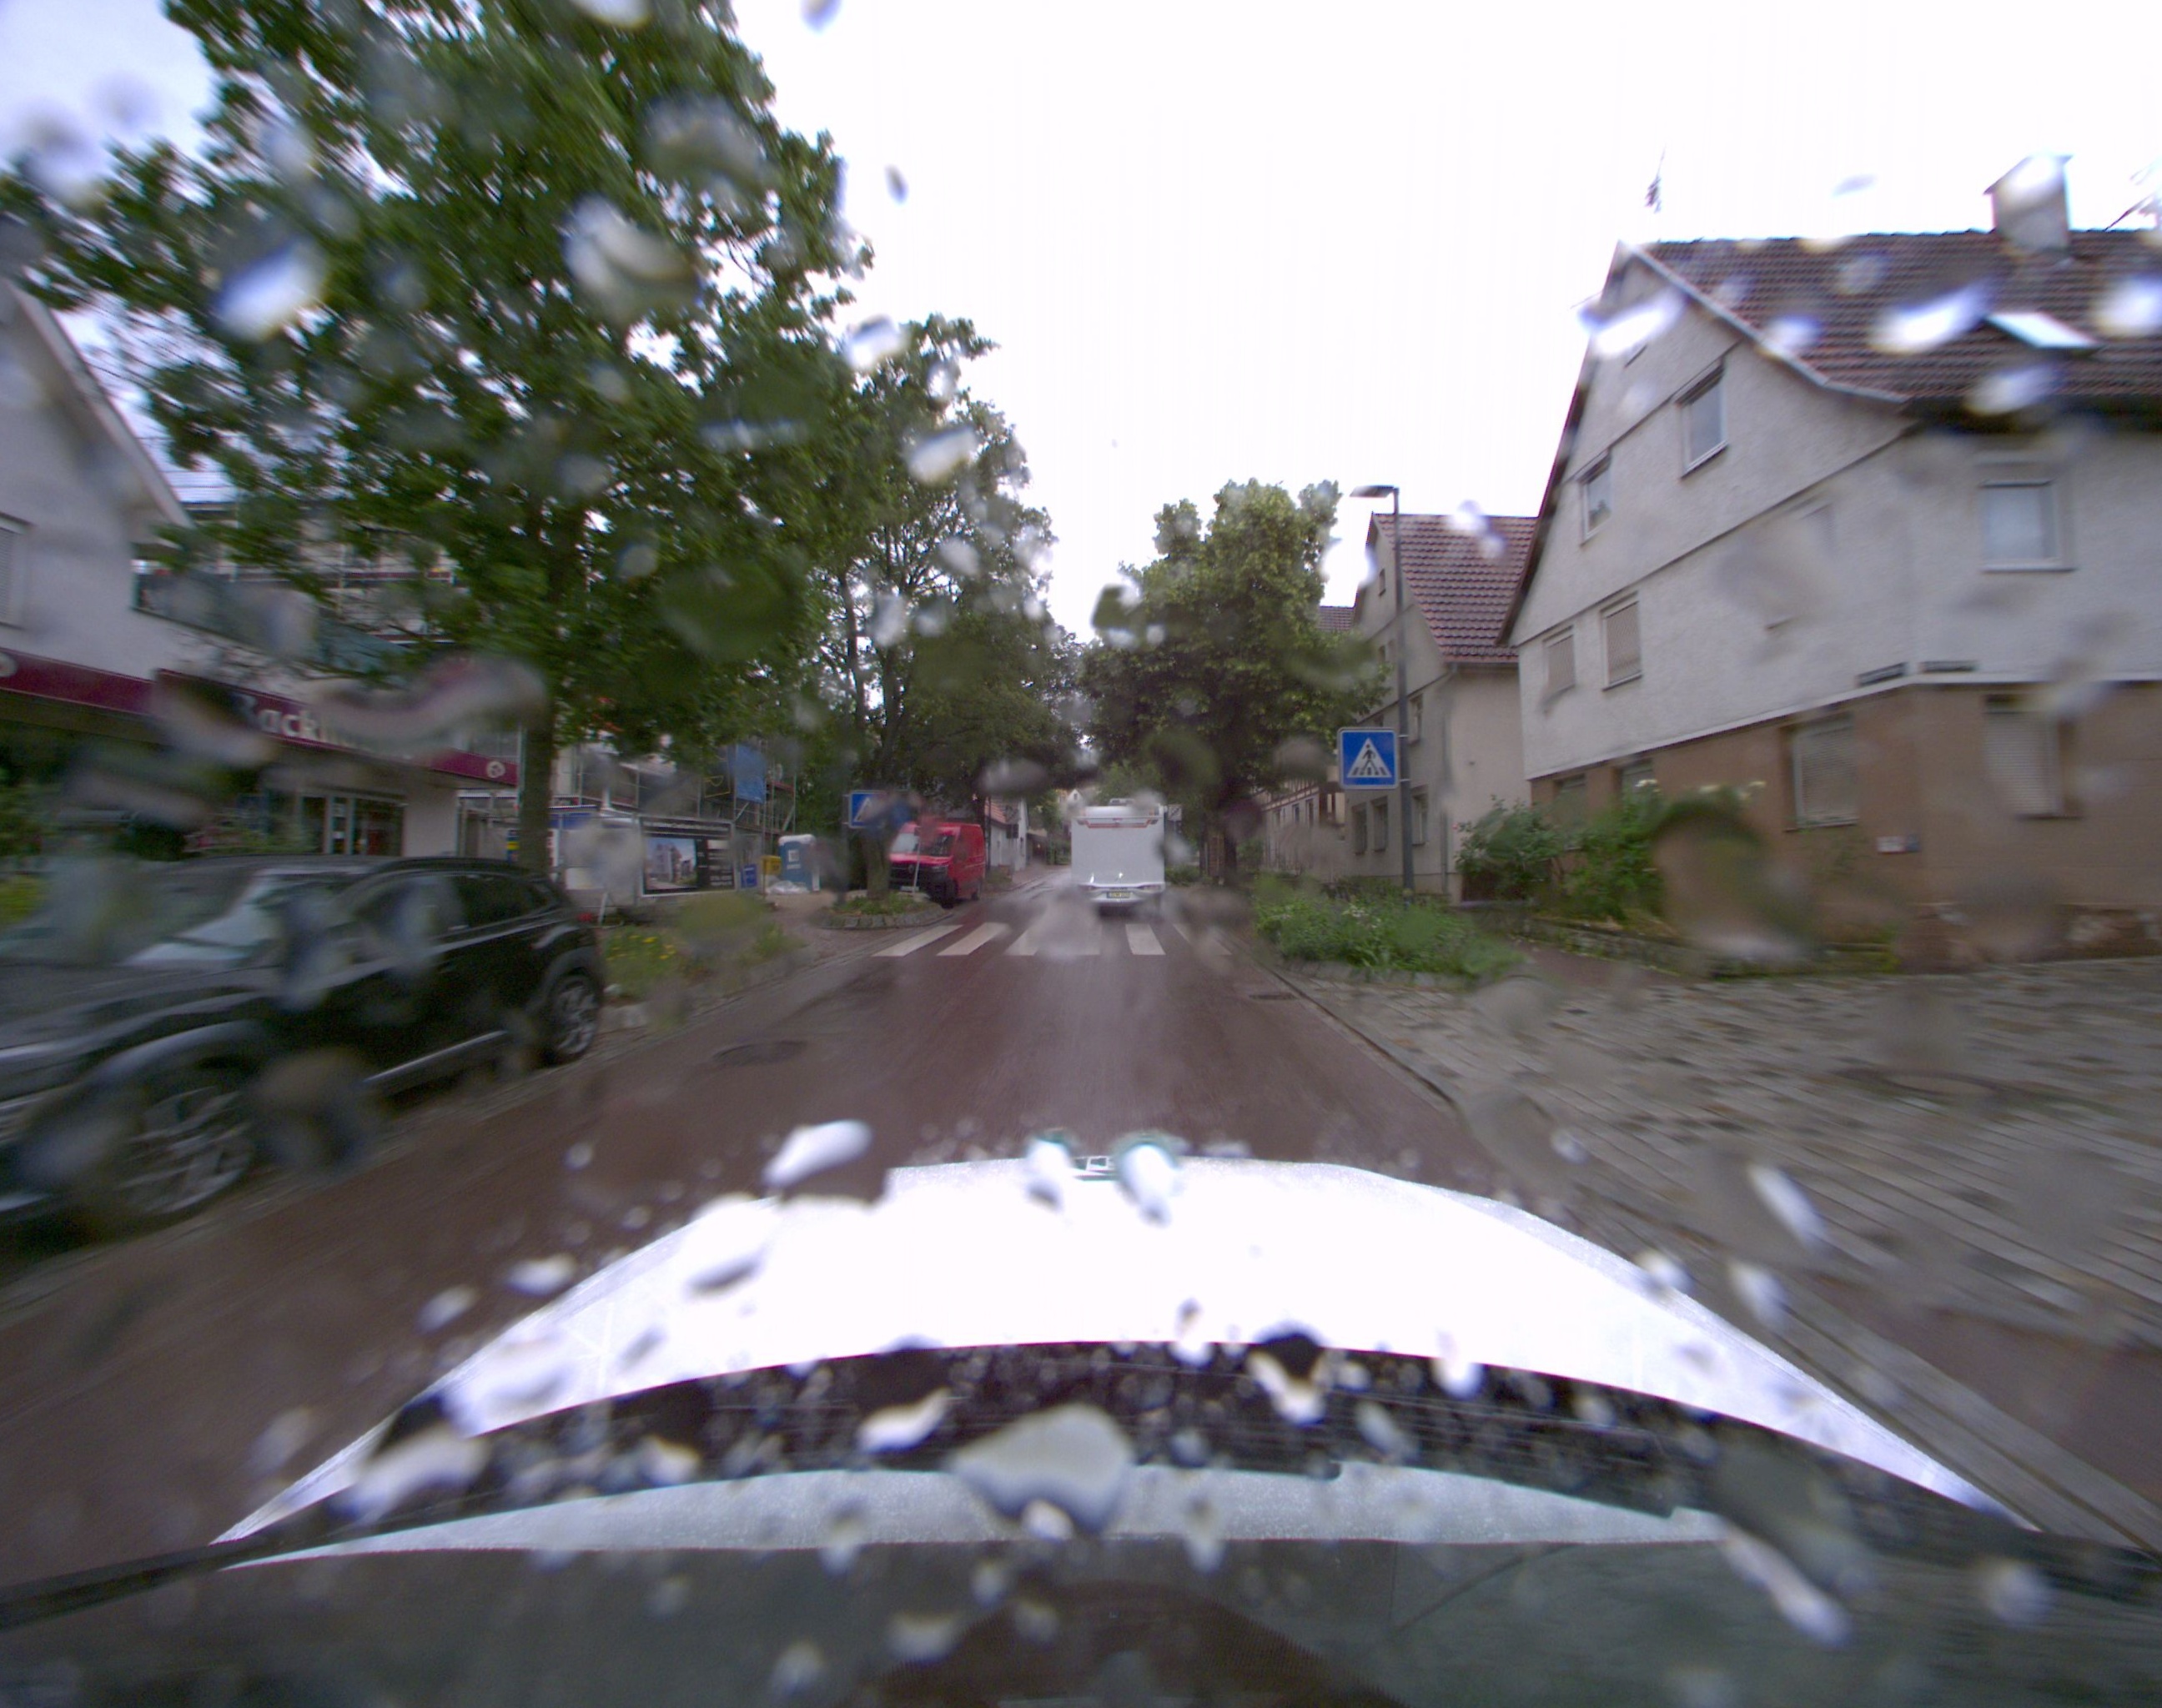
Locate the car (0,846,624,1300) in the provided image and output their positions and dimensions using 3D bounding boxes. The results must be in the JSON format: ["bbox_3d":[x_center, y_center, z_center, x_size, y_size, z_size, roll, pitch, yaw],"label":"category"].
[{"bbox_3d":[-4.667,0.760,4.679,1.766,1.553,3.999,2,0,0],"label":"car"}]

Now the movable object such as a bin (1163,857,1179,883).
[{"bbox_3d":[4.270,0.755,38.672,0.718,1.212,0.727,0,0,2],"label":"movable object such as a bin"}]

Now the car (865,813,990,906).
[{"bbox_3d":[-4.448,0.118,24.769,2.293,2.483,5.792,0,1,4],"label":"car"}]

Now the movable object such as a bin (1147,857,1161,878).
[{"bbox_3d":[3.997,0.734,44.769,0.721,1.143,0.703,0,0,-1],"label":"movable object such as a bin"}]

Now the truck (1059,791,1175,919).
[{"bbox_3d":[0.932,0.049,22.070,2.684,2.986,6.239,0,-1,2],"label":"truck"}]
